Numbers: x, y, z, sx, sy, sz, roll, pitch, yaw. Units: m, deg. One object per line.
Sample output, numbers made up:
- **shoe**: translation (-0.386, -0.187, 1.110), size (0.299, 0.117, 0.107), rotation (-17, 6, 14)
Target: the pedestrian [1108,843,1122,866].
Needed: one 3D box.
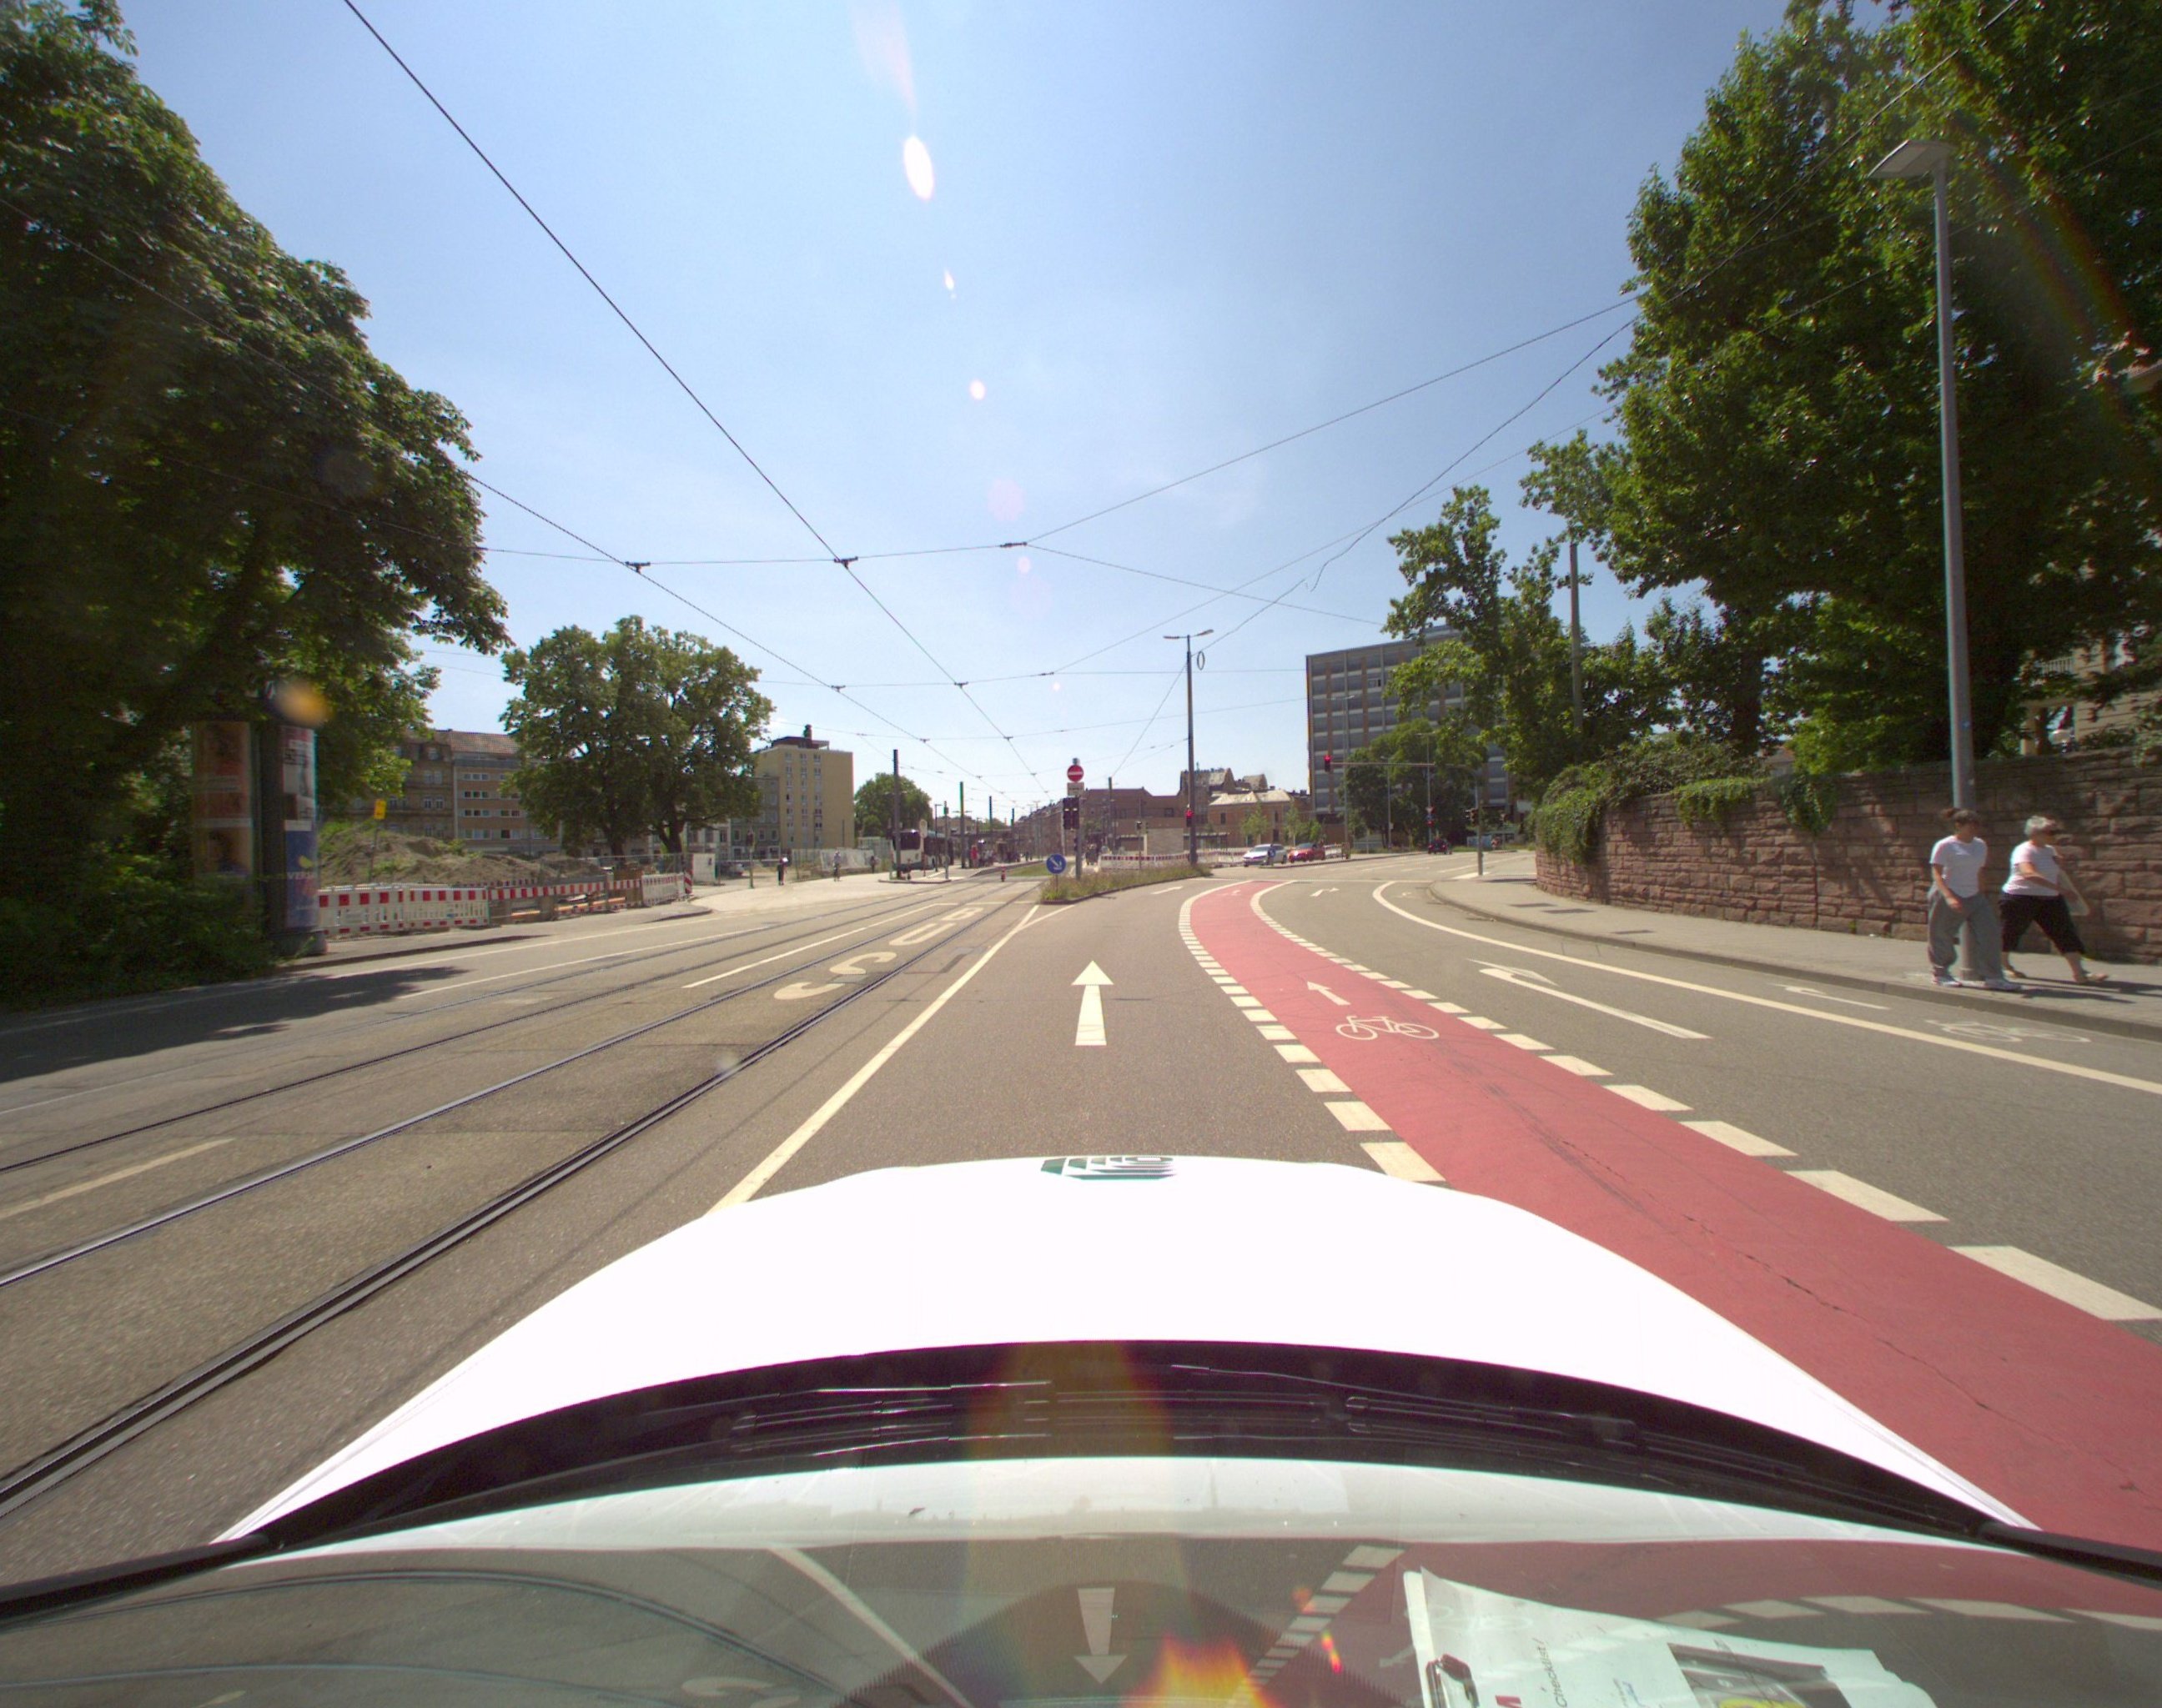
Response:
- **pedestrian**: translation (2.863, 0.040, 68.247), size (0.978, 1.832, 0.630), rotation (-2, 0, -14)

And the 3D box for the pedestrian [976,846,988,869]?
- **pedestrian**: translation (-8.291, 0.314, 67.908), size (0.911, 1.851, 0.656), rotation (-2, 0, -9)

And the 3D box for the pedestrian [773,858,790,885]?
- **pedestrian**: translation (-18.095, 1.057, 49.232), size (0.602, 1.602, 0.828), rotation (-2, 0, 11)

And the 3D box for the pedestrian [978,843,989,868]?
- **pedestrian**: translation (-8.419, 0.109, 70.279), size (0.824, 2.096, 0.639), rotation (-2, 0, -10)

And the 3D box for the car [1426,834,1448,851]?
- **car**: translation (33.987, -1.094, 77.683), size (1.673, 1.526, 3.712), rotation (-2, 1, 26)

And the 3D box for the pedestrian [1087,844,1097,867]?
- **pedestrian**: translation (0.872, 0.144, 67.699), size (0.717, 1.923, 1.073), rotation (-1, -1, -4)

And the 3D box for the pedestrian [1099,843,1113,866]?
- **pedestrian**: translation (2.069, 0.075, 67.069), size (0.771, 1.864, 0.722), rotation (-1, -1, -40)

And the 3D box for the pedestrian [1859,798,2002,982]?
- **pedestrian**: translation (8.797, 0.357, 8.463), size (0.674, 1.808, 0.749), rotation (-2, 0, 5)

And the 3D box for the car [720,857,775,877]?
- **car**: translation (-29.643, 1.133, 72.496), size (4.153, 1.649, 1.858), rotation (-2, 1, 13)

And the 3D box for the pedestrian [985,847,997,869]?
- **pedestrian**: translation (-8.773, 0.346, 79.126), size (0.894, 2.096, 0.833), rotation (-2, 0, 6)

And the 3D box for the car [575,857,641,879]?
- **car**: translation (-44.181, 1.282, 76.199), size (2.093, 1.884, 5.065), rotation (-2, 1, 21)

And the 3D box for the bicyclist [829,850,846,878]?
- **bicyclist**: translation (-15.399, 0.613, 51.470), size (0.820, 1.709, 0.768), rotation (-2, 0, -8)

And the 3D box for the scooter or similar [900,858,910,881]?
- **scooter or similar**: translation (-9.787, 0.862, 45.270), size (0.318, 1.206, 1.247), rotation (-2, 1, -3)

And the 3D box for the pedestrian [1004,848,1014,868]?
- **pedestrian**: translation (-7.669, 0.391, 87.074), size (0.894, 2.096, 0.833), rotation (-2, 0, 6)

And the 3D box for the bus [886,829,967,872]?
- **bus**: translation (-12.791, -0.322, 69.709), size (2.999, 3.157, 17.506), rotation (-2, 0, 2)

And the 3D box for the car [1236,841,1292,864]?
- **car**: translation (12.557, -0.124, 55.697), size (1.974, 1.438, 4.736), rotation (-2, 0, 36)

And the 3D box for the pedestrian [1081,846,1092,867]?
- **pedestrian**: translation (0.442, 0.234, 66.374), size (0.726, 1.706, 0.741), rotation (-1, -1, -11)

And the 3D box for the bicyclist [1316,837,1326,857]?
- **bicyclist**: translation (20.555, -0.597, 69.744), size (0.561, 1.719, 0.510), rotation (-2, 0, 42)

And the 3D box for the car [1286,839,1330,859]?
- **car**: translation (17.345, -0.389, 62.089), size (1.714, 1.425, 4.150), rotation (-2, 0, 38)

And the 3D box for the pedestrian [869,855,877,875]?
- **pedestrian**: translation (-17.204, 0.907, 67.423), size (0.565, 1.705, 0.397), rotation (-2, 1, -6)

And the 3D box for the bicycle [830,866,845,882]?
- **bicycle**: translation (-15.391, 1.234, 51.460), size (0.503, 0.914, 2.365), rotation (-2, 1, -7)

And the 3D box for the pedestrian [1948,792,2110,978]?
- **pedestrian**: translation (9.748, 0.305, 8.406), size (0.810, 1.808, 0.701), rotation (-2, 0, 5)

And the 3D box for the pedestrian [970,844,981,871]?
- **pedestrian**: translation (-7.685, 0.259, 59.230), size (0.672, 1.909, 0.638), rotation (-2, 0, -9)

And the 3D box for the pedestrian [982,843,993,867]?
- **pedestrian**: translation (-8.173, 0.086, 71.219), size (0.899, 2.096, 0.829), rotation (-2, 0, -10)

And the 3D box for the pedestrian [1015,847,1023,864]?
- **pedestrian**: translation (-7.676, 0.232, 101.446), size (0.826, 2.096, 0.902), rotation (-2, 0, 0)
